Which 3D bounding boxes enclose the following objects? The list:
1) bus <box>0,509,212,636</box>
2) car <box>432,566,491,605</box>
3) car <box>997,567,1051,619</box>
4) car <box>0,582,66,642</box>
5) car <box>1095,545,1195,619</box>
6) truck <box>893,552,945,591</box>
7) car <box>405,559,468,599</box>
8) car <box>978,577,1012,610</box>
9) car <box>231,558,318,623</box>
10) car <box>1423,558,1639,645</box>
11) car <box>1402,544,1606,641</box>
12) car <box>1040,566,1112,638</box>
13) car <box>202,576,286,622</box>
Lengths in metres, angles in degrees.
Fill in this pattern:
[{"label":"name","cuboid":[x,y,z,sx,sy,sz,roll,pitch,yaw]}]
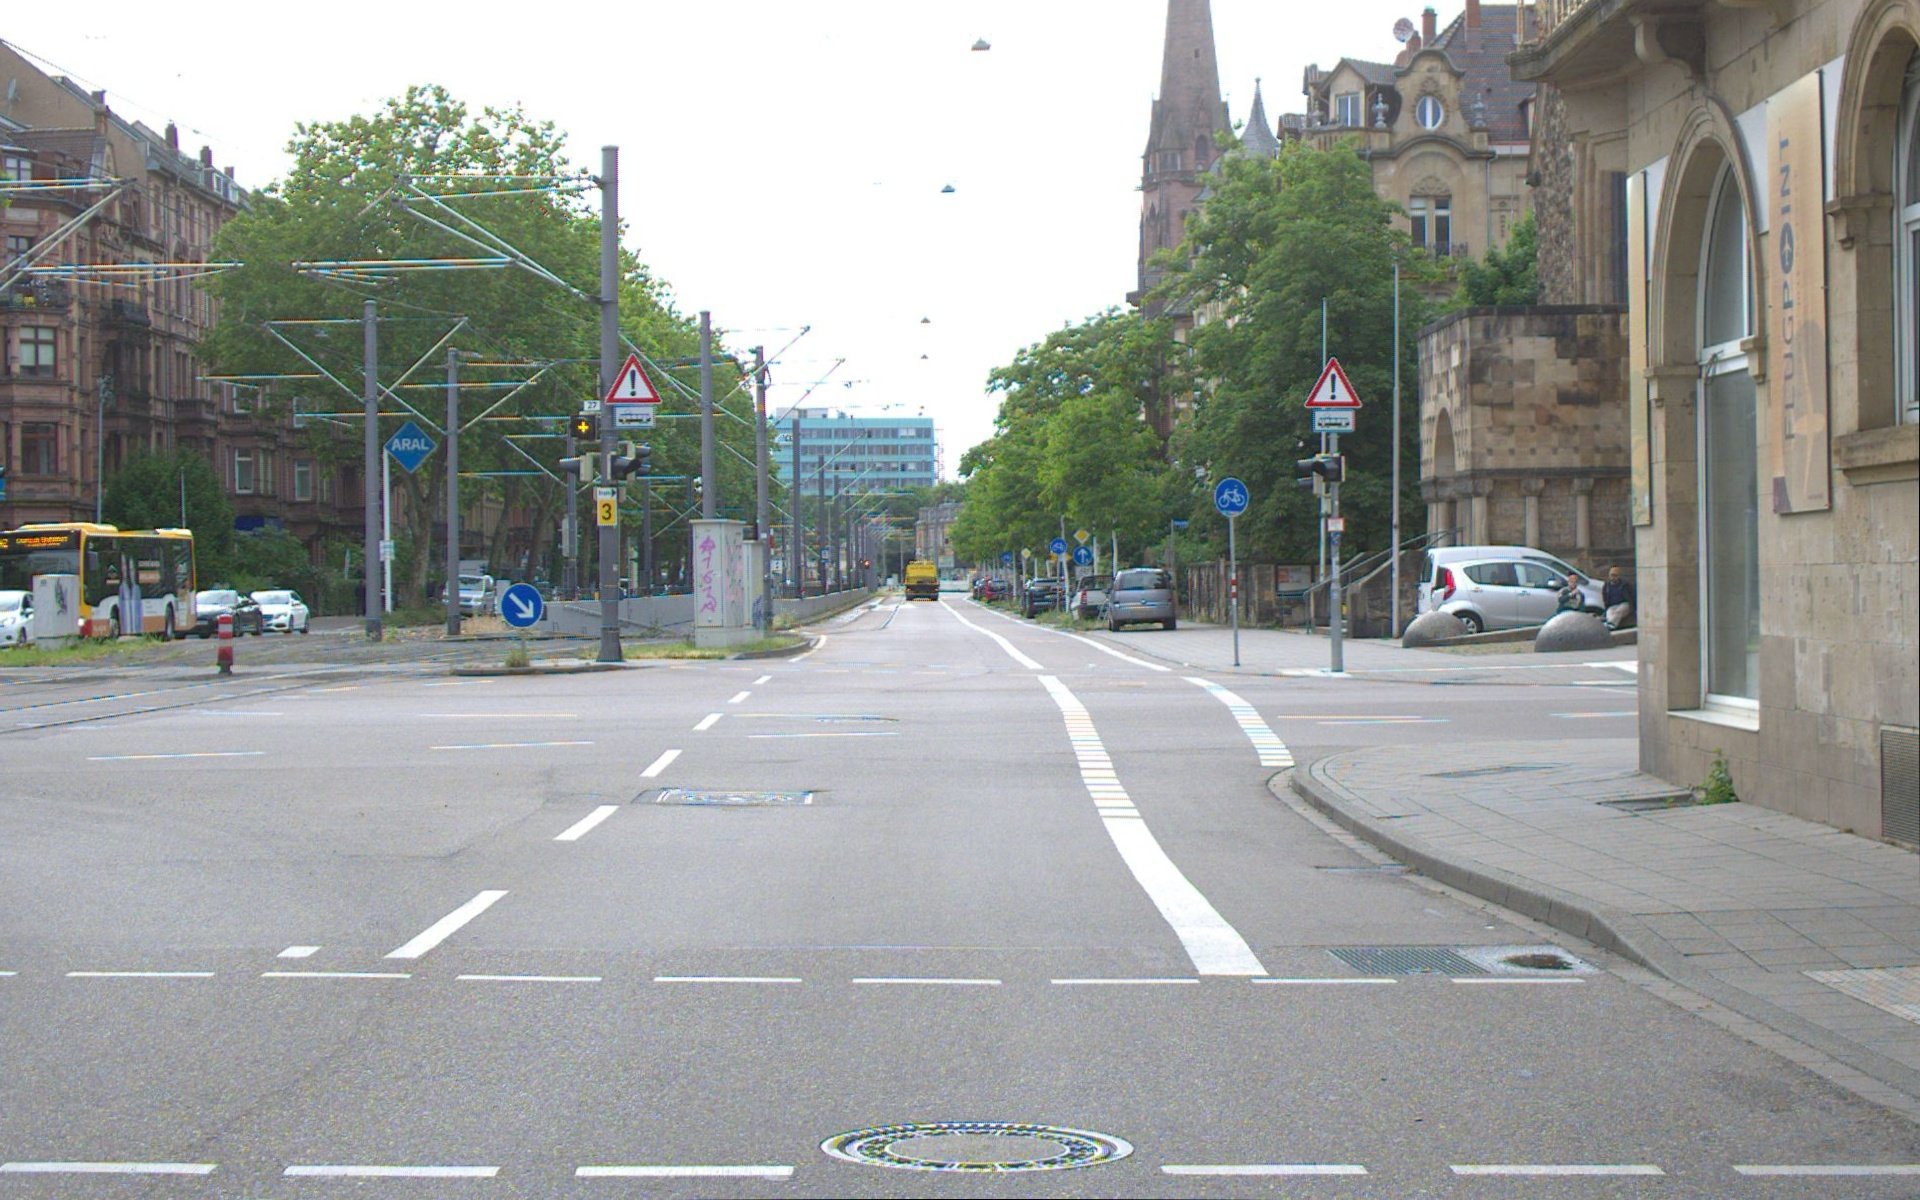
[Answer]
[{"label":"bus","cuboid":[-22.478,-0.730,89.118,3.231,3.025,12.311,1,1,1]},{"label":"car","cuboid":[-21.629,-0.641,149.360,1.993,1.605,4.000,1,1,-1]},{"label":"car","cuboid":[2.535,-0.282,136.214,1.993,2.007,4.000,1,1,-1]},{"label":"car","cuboid":[-21.911,0.259,79.069,1.656,1.316,3.638,1,1,1]},{"label":"car","cuboid":[4.867,-0.475,90.008,1.994,1.849,4.024,1,1,12]},{"label":"truck","cuboid":[-2.955,-2.120,250.699,3.055,2.759,9.814,0,1,3]},{"label":"car","cuboid":[-21.538,-0.880,141.544,1.993,1.605,4.000,1,1,-1]},{"label":"car","cuboid":[2.194,-0.409,216.860,1.993,2.007,4.000,1,1,-1]},{"label":"car","cuboid":[-21.839,-0.321,109.626,1.993,2.007,4.000,1,1,-1]},{"label":"car","cuboid":[10.763,0.013,64.989,3.713,1.558,2.000,1,0,0]},{"label":"car","cuboid":[10.792,-0.164,68.428,3.713,1.849,2.000,1,0,0]},{"label":"car","cuboid":[3.343,0.029,99.669,1.993,2.007,4.000,1,1,1]},{"label":"car","cuboid":[-21.280,-0.050,102.247,1.656,1.316,3.638,1,1,1]}]
